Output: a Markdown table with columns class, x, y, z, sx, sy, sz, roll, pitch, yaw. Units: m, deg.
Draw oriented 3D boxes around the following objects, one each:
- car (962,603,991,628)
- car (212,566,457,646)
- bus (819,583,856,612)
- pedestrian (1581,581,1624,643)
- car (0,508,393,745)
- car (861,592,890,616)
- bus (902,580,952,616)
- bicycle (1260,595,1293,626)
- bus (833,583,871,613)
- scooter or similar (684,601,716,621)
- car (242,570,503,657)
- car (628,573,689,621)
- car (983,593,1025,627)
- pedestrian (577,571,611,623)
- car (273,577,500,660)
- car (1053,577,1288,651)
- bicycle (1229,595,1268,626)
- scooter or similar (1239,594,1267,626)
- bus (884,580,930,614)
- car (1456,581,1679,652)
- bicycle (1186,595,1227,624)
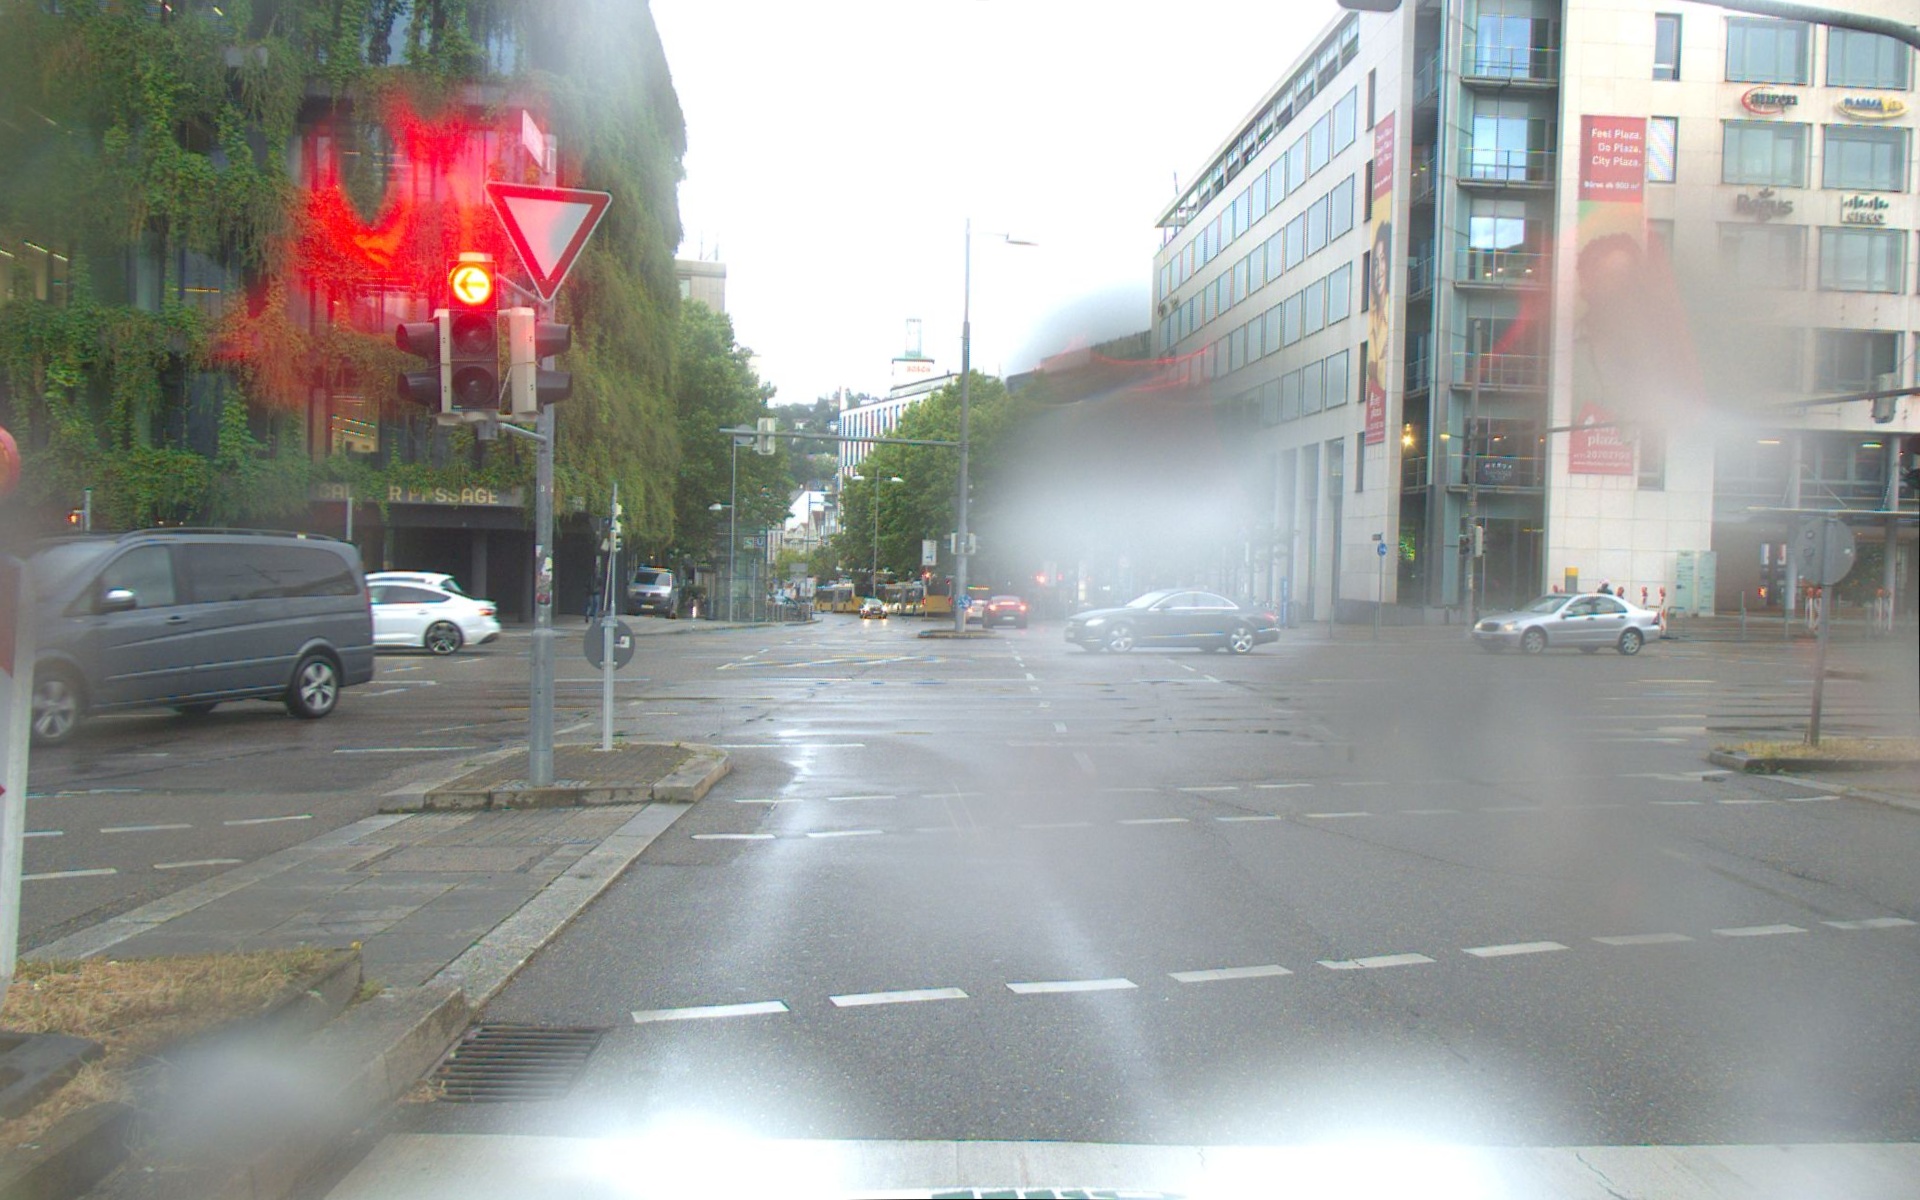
| class | x | y | z | sx | sy | sz | roll | pitch | yaw |
| --- | --- | --- | --- | --- | --- | --- | --- | --- | --- |
| car | 1.021 | 0.989 | 106.066 | 1.745 | 1.534 | 3.999 | 1 | 0 | -1 |
| car | -12.937 | 0.142 | 34.497 | 4.608 | 1.539 | 1.802 | 1 | 0 | -17 |
| bus | -13.342 | -0.307 | 180.124 | 2.585 | 3.048 | 7.417 | 0 | 0 | -16 |
| pedestrian | 19.375 | 0.364 | 49.914 | 0.942 | 1.848 | 0.836 | 1 | -1 | -1 |
| car | -8.029 | 0.230 | 16.210 | 1.952 | 1.961 | 4.965 | 0 | 0 | 21 |
| car | -6.469 | 0.308 | 126.546 | 2.121 | 1.796 | 5.107 | -1 | 0 | -4 |
| bus | -2.971 | -0.211 | 145.892 | 2.585 | 3.048 | 7.417 | 0 | 0 | -16 |
| bicycle | 12.861 | 0.431 | 67.134 | 0.575 | 1.215 | 1.776 | 1 | -1 | 37 |
| bus | -11.345 | -0.203 | 173.057 | 2.585 | 3.048 | 7.296 | 0 | 0 | -16 |
| scooter or similar | -12.934 | 0.544 | 82.334 | 0.612 | 1.022 | 1.653 | 1 | 0 | 37 |
| car | -11.191 | 0.235 | 31.835 | 4.608 | 1.539 | 1.802 | -1 | 0 | -17 |
| car | -12.387 | -0.110 | 68.134 | 1.832 | 1.871 | 3.999 | 1 | 0 | -1 |
| car | 2.014 | 0.456 | 76.068 | 1.745 | 1.534 | 3.999 | 1 | 0 | -1 |
| pedestrian | -12.024 | -0.096 | 54.393 | 0.915 | 1.673 | 0.774 | 1 | -1 | -1 |
| car | -12.681 | 0.422 | 36.871 | 4.606 | 1.654 | 1.803 | 2 | -1 | -16 |
| car | 4.615 | 0.342 | 36.445 | 4.768 | 1.503 | 1.991 | 1 | -2 | -16 |
| bicycle | 11.586 | 0.407 | 66.557 | 0.578 | 1.215 | 1.766 | 1 | 0 | -28 |
| scooter or similar | 11.387 | 0.394 | 64.318 | 0.946 | 1.215 | 0.453 | 1 | -1 | 40 |
| bus | -4.967 | -0.278 | 153.008 | 2.585 | 3.048 | 7.417 | 0 | 0 | -16 |
| car | 14.312 | 0.379 | 39.023 | 4.640 | 1.502 | 1.993 | 1 | 2 | -15 |
| bicycle | 10.863 | 0.421 | 72.925 | 1.741 | 1.215 | 0.586 | 1 | -1 | 1 |
